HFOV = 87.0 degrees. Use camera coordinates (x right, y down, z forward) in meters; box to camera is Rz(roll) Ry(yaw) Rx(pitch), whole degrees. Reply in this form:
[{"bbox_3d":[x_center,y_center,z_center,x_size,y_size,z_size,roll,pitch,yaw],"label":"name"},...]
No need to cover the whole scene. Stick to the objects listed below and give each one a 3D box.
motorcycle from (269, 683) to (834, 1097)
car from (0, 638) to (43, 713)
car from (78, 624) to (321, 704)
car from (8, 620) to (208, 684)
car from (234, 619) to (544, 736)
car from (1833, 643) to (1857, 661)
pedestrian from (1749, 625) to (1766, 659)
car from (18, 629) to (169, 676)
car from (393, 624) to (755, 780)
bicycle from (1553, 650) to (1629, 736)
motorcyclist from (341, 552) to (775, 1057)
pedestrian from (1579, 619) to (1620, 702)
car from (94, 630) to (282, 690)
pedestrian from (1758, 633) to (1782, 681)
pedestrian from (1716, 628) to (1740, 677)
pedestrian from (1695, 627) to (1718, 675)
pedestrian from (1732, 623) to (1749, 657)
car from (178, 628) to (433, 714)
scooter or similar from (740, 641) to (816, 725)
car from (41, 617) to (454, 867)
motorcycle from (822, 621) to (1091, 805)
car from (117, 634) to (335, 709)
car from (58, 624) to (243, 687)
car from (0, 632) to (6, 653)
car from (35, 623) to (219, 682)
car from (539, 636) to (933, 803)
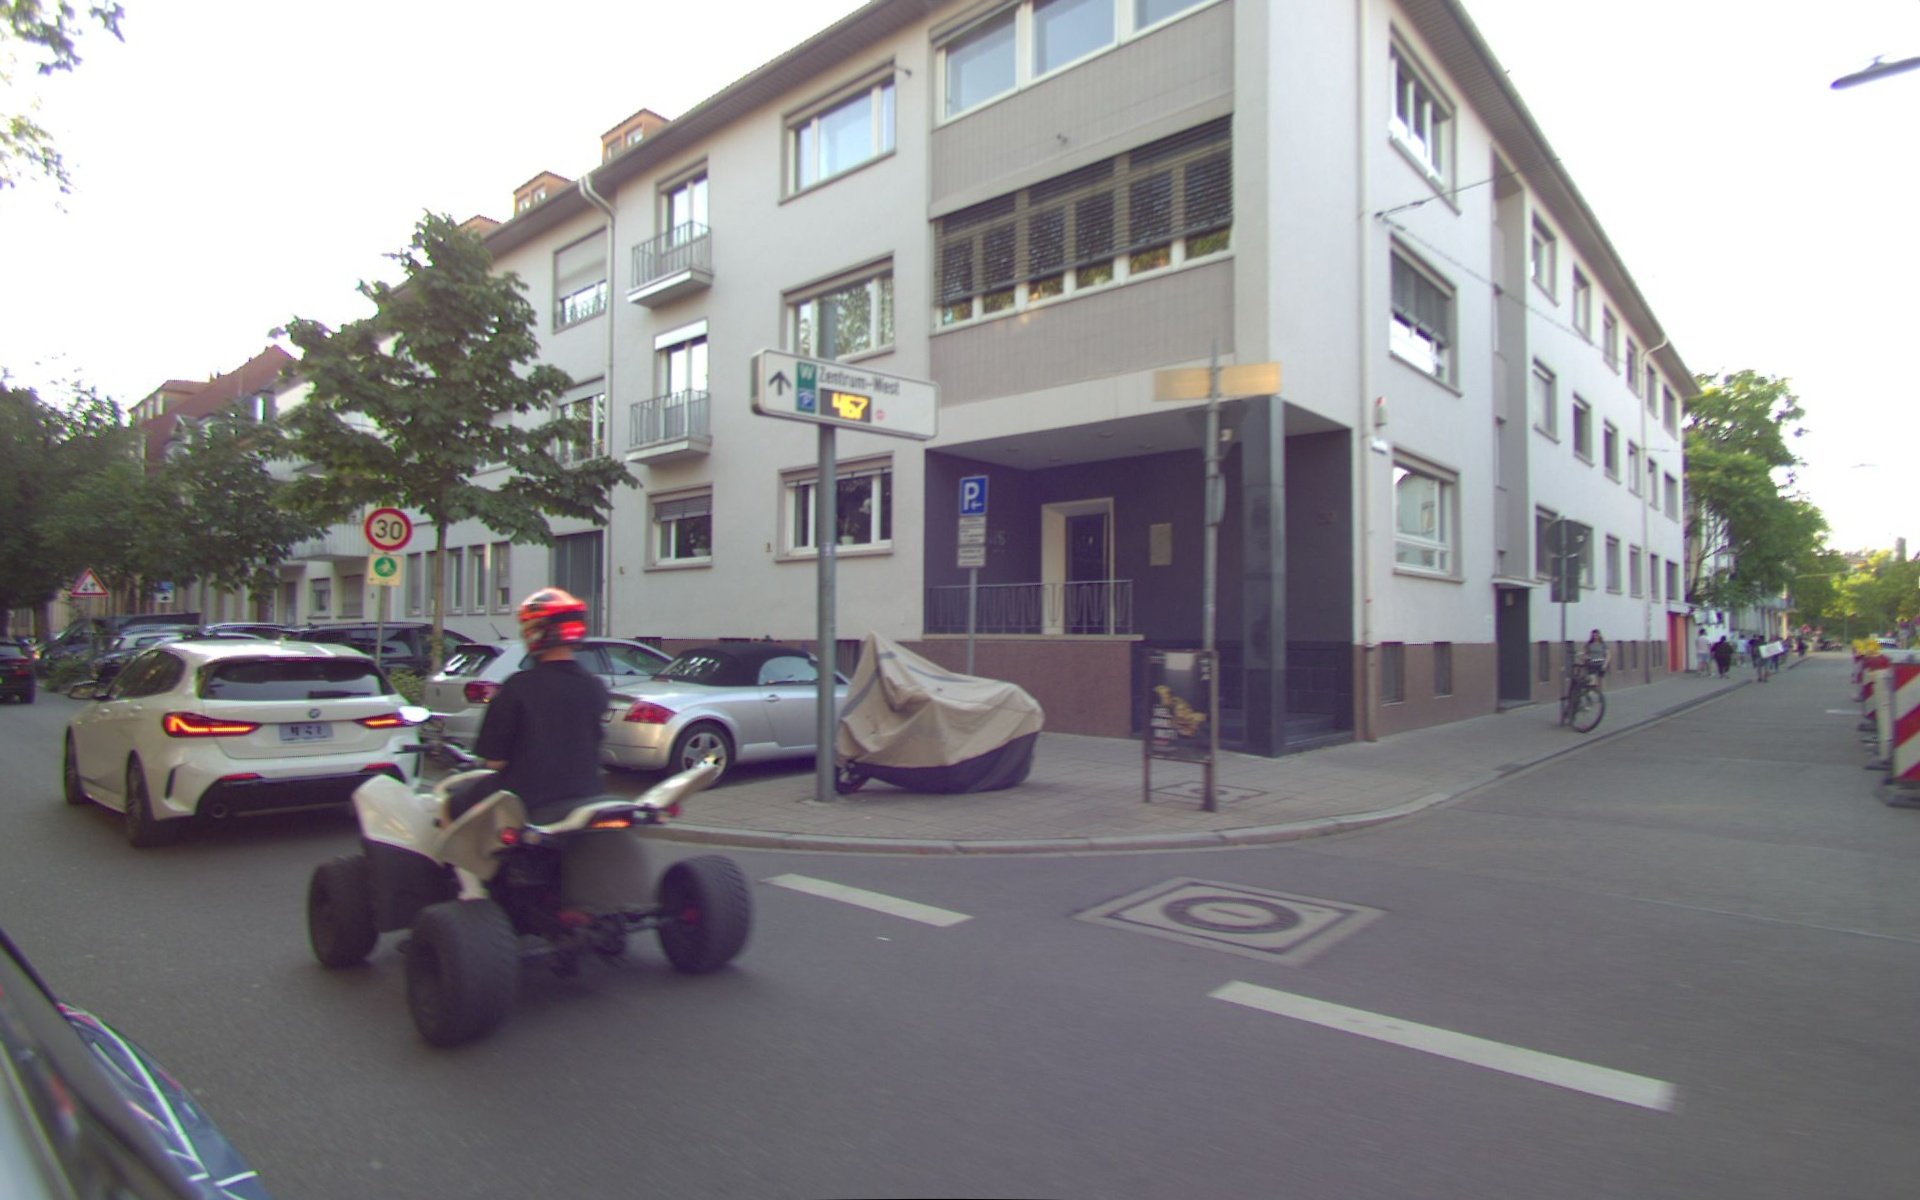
[{"bbox_3d":[-1.816,0.962,4.297,2.395,1.098,1.298,-2,-3,42],"label":"motorcycle"},{"bbox_3d":[-21.812,1.615,22.292,4.273,1.561,1.857,-2,-5,42],"label":"car"},{"bbox_3d":[-19.238,1.545,25.758,2.155,1.778,4.617,-2,-2,41],"label":"car"},{"bbox_3d":[-28.843,1.724,34.387,2.189,2.006,4.937,-2,-3,42],"label":"car"},{"bbox_3d":[-9.231,1.153,16.592,1.936,1.644,4.049,-2,-2,42],"label":"car"},{"bbox_3d":[105.124,6.164,120.205,1.998,2.029,3.946,-1,-4,40],"label":"car"},{"bbox_3d":[41.530,2.172,52.690,0.585,1.725,0.647,3,1,41],"label":"pedestrian"},{"bbox_3d":[-34.004,2.031,39.816,1.771,1.550,4.309,-1,1,41],"label":"car"},{"bbox_3d":[-4.506,1.084,12.198,1.734,1.469,3.703,-2,-1,40],"label":"car"},{"bbox_3d":[9.808,1.399,15.802,0.720,1.154,2.218,-1,-1,25],"label":"bicycle"},{"bbox_3d":[-1.587,0.677,4.077,1.077,1.604,1.266,-2,-3,41],"label":"motorcyclist"},{"bbox_3d":[13.920,1.303,22.024,0.585,1.725,0.647,3,1,41],"label":"pedestrian"},{"bbox_3d":[-21.048,1.598,27.690,1.854,1.462,3.805,-3,-2,41],"label":"car"},{"bbox_3d":[29.609,2.070,36.990,0.585,1.725,0.647,3,1,41],"label":"pedestrian"},{"bbox_3d":[28.116,1.910,37.068,0.585,1.725,0.647,3,1,41],"label":"pedestrian"},{"bbox_3d":[27.911,1.909,37.847,0.585,1.725,0.647,3,1,41],"label":"pedestrian"},{"bbox_3d":[41.115,2.103,53.300,0.585,1.725,0.647,3,1,41],"label":"pedestrian"},{"bbox_3d":[-13.104,1.348,20.435,1.755,1.451,4.031,-2,-1,42],"label":"car"},{"bbox_3d":[-2.966,1.321,16.436,0.509,1.271,1.421,0,-1,-44],"label":"scooter or similar"},{"bbox_3d":[-6.094,0.972,8.453,4.273,1.561,1.857,-2,-3,42],"label":"car"},{"bbox_3d":[-0.022,0.919,8.806,2.118,1.430,0.971,2,-2,-27],"label":"motorcycle"},{"bbox_3d":[-17.436,1.629,24.156,1.781,1.505,3.983,-2,-1,45],"label":"car"},{"bbox_3d":[-24.524,1.628,30.758,1.823,1.603,4.111,-2,0,41],"label":"car"},{"bbox_3d":[-66.934,2.946,68.372,1.671,1.416,3.454,-2,0,39],"label":"car"},{"bbox_3d":[-26.791,1.636,32.662,1.930,1.584,4.309,-2,0,41],"label":"car"},{"bbox_3d":[-2.250,1.106,10.770,1.844,1.321,3.699,-2,-1,43],"label":"car"}]
